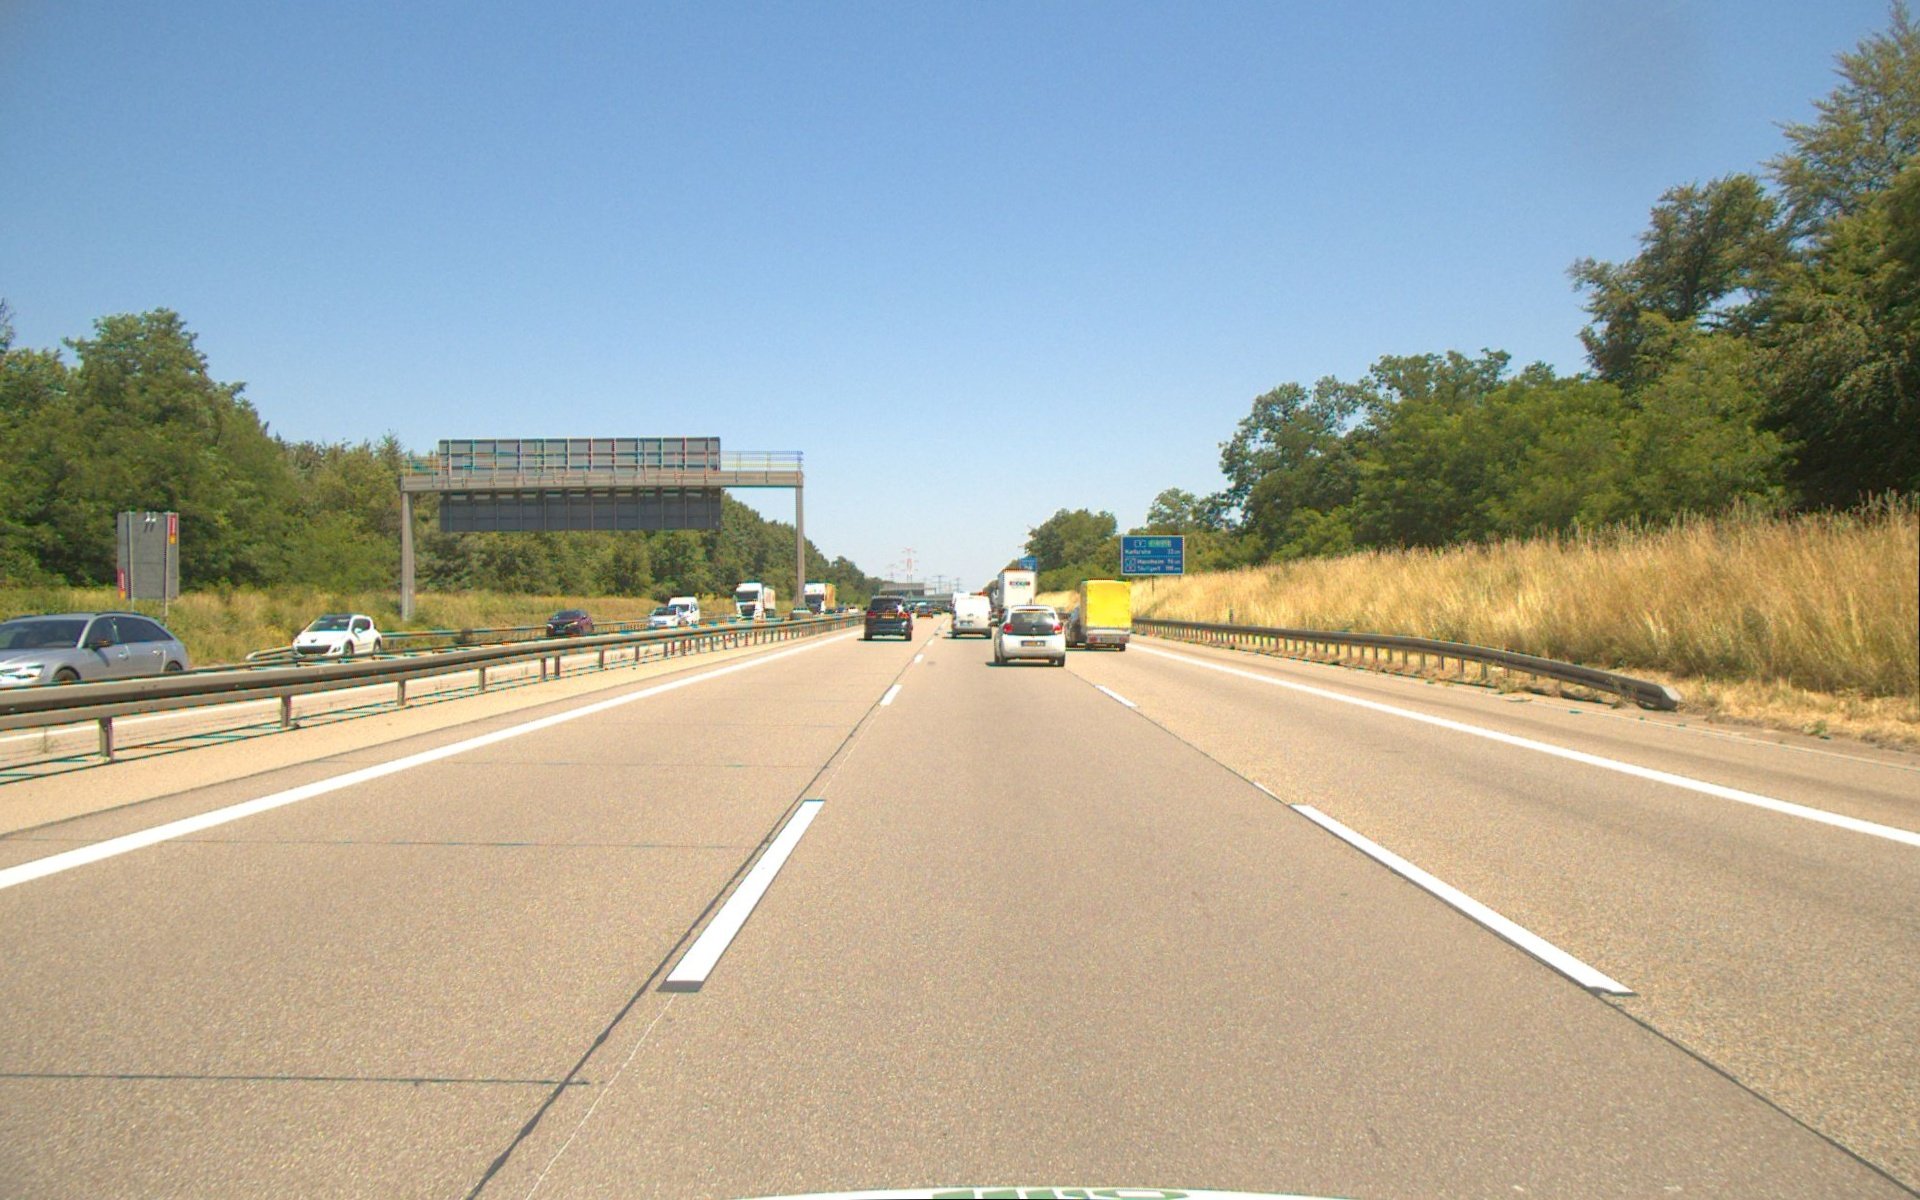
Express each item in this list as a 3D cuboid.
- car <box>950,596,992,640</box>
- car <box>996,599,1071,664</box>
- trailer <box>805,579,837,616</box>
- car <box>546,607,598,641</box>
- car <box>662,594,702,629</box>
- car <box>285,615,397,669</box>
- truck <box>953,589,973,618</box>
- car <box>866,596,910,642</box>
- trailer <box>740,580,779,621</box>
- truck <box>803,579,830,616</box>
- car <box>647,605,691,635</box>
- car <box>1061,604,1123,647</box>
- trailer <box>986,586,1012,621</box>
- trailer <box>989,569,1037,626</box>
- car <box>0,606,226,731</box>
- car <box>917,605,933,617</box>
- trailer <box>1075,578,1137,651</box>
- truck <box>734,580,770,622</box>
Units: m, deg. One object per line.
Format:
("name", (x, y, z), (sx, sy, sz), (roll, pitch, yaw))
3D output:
("car", (0.435, 0.766, 72.921), (1.777, 1.859, 5.109), (0, 0, 0))
("car", (1.792, 0.758, 41.280), (1.673, 1.521, 4.023), (0, 0, 0))
("trailer", (-16.462, -0.274, 196.327), (2.414, 4.143, 14.278), (-3, 0, 0))
("car", (-20.519, 1.249, 87.566), (1.613, 1.618, 4.611), (-3, 0, 0))
("car", (-20.313, 0.803, 121.140), (1.947, 2.381, 5.808), (-3, 0, -1))
("car", (-19.898, 1.311, 53.359), (1.758, 1.543, 4.903), (-3, 0, -1))
("truck", (0.278, 0.401, 173.462), (2.018, 2.965, 7.002), (0, -1, 0))
("car", (-2.866, 0.748, 66.149), (1.593, 1.785, 3.804), (0, 0, 0))
("trailer", (-20.729, 0.065, 171.662), (2.572, 4.017, 11.156), (-3, 0, 0))
("truck", (-16.430, -0.286, 189.469), (2.414, 4.143, 6.286), (-3, 0, 0))
("car", (-16.132, 1.064, 91.808), (1.613, 1.525, 4.560), (-3, 0, -1))
("car", (4.730, 0.905, 59.784), (1.784, 1.481, 4.787), (1, 0, -1))
("trailer", (4.457, 0.428, 191.219), (2.628, 3.904, 12.008), (1, -1, 0))
("trailer", (4.160, -0.101, 132.674), (3.219, 4.293, 13.562), (1, -1, 0))
("car", (-12.243, 0.898, 23.064), (1.758, 1.500, 4.985), (-3, 0, -1))
("car", (-3.730, 1.170, 175.088), (1.574, 1.323, 3.674), (0, 0, 0))
("trailer", (4.867, 0.471, 55.478), (1.668, 2.330, 3.838), (1, 0, -1))
("truck", (-20.712, 0.074, 165.121), (2.572, 4.017, 6.482), (-3, 0, 0))
